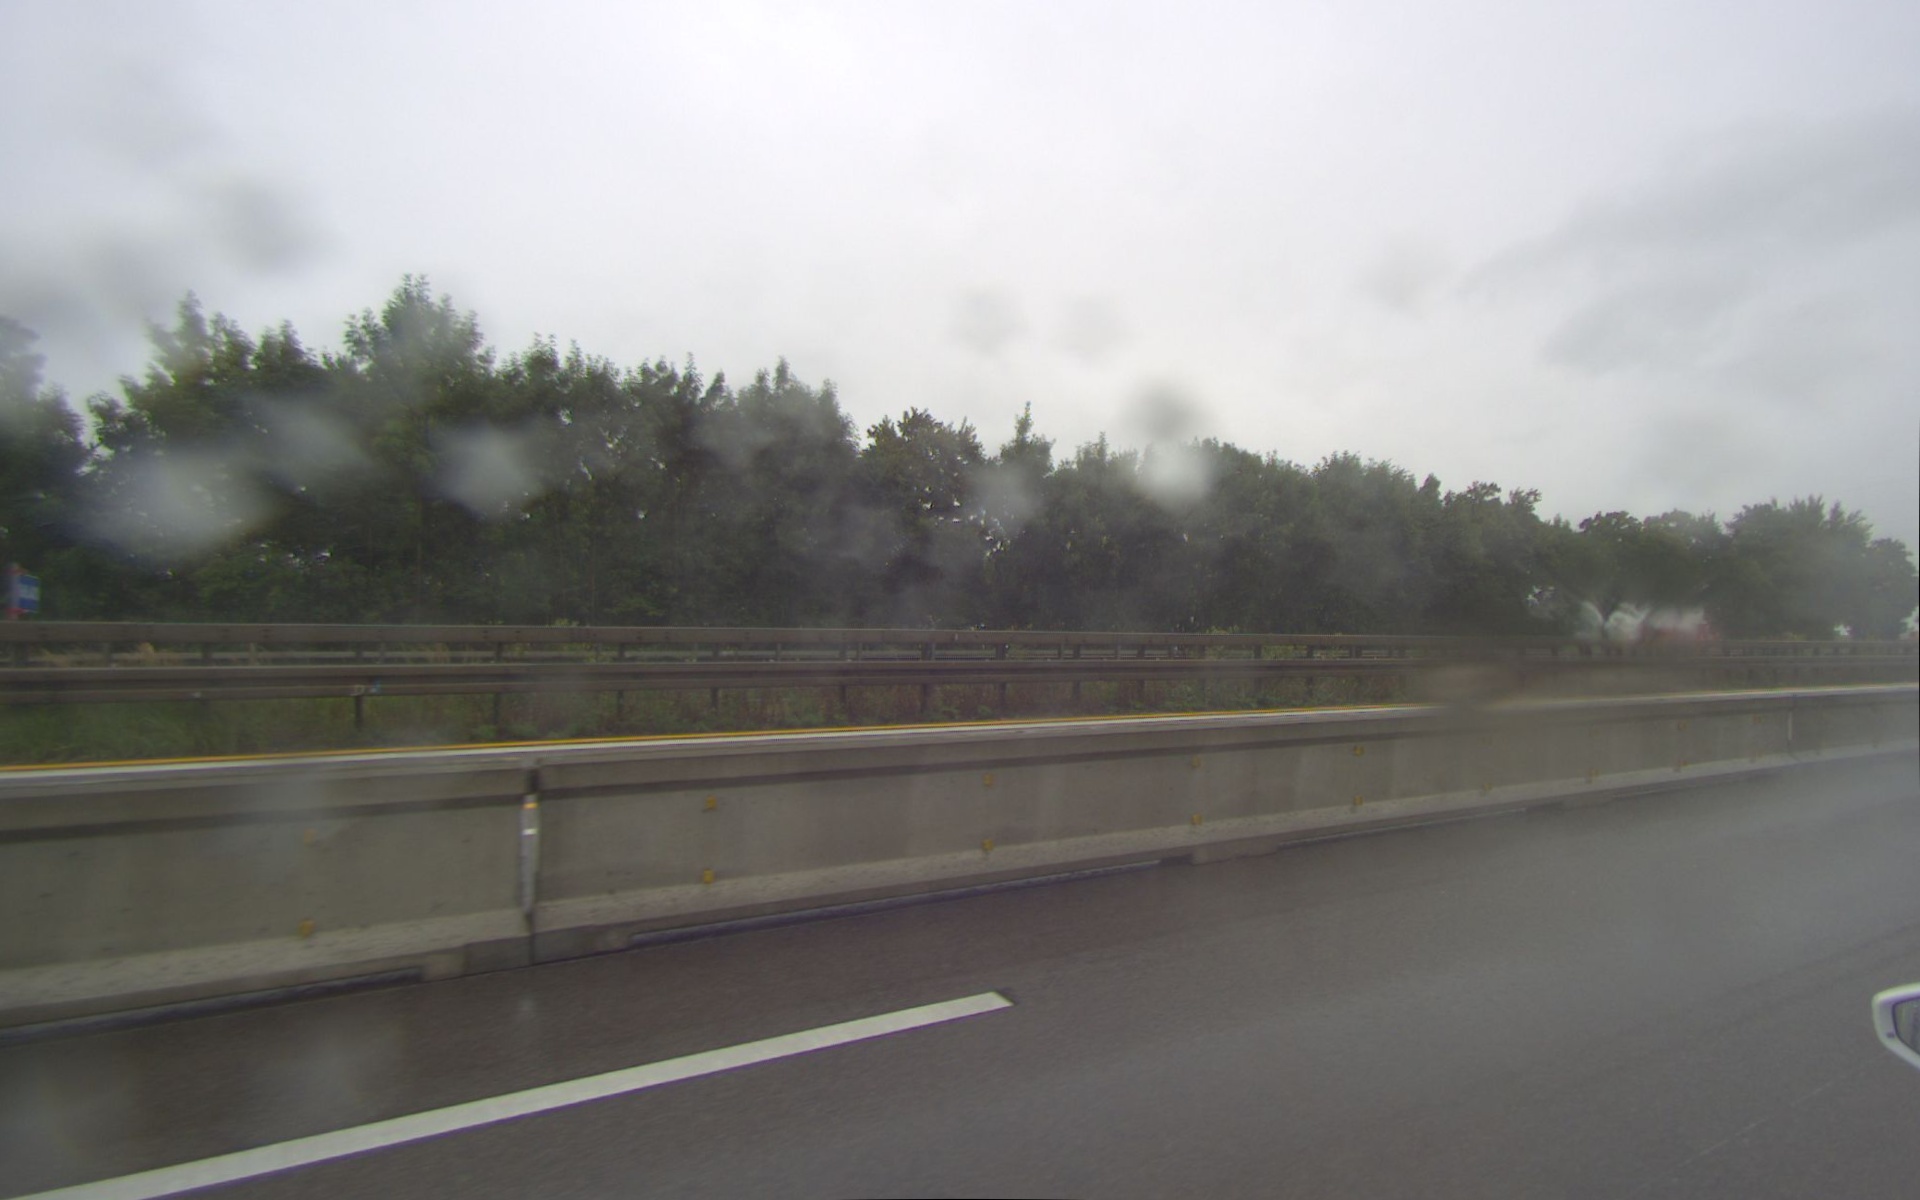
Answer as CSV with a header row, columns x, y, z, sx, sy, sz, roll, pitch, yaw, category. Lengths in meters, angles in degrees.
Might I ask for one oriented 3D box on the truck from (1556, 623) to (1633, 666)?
x,y,z,sx,sy,sz,roll,pitch,yaw,category
50.950,3.586,80.655,5.792,3.255,2.604,3,-1,-27,truck
